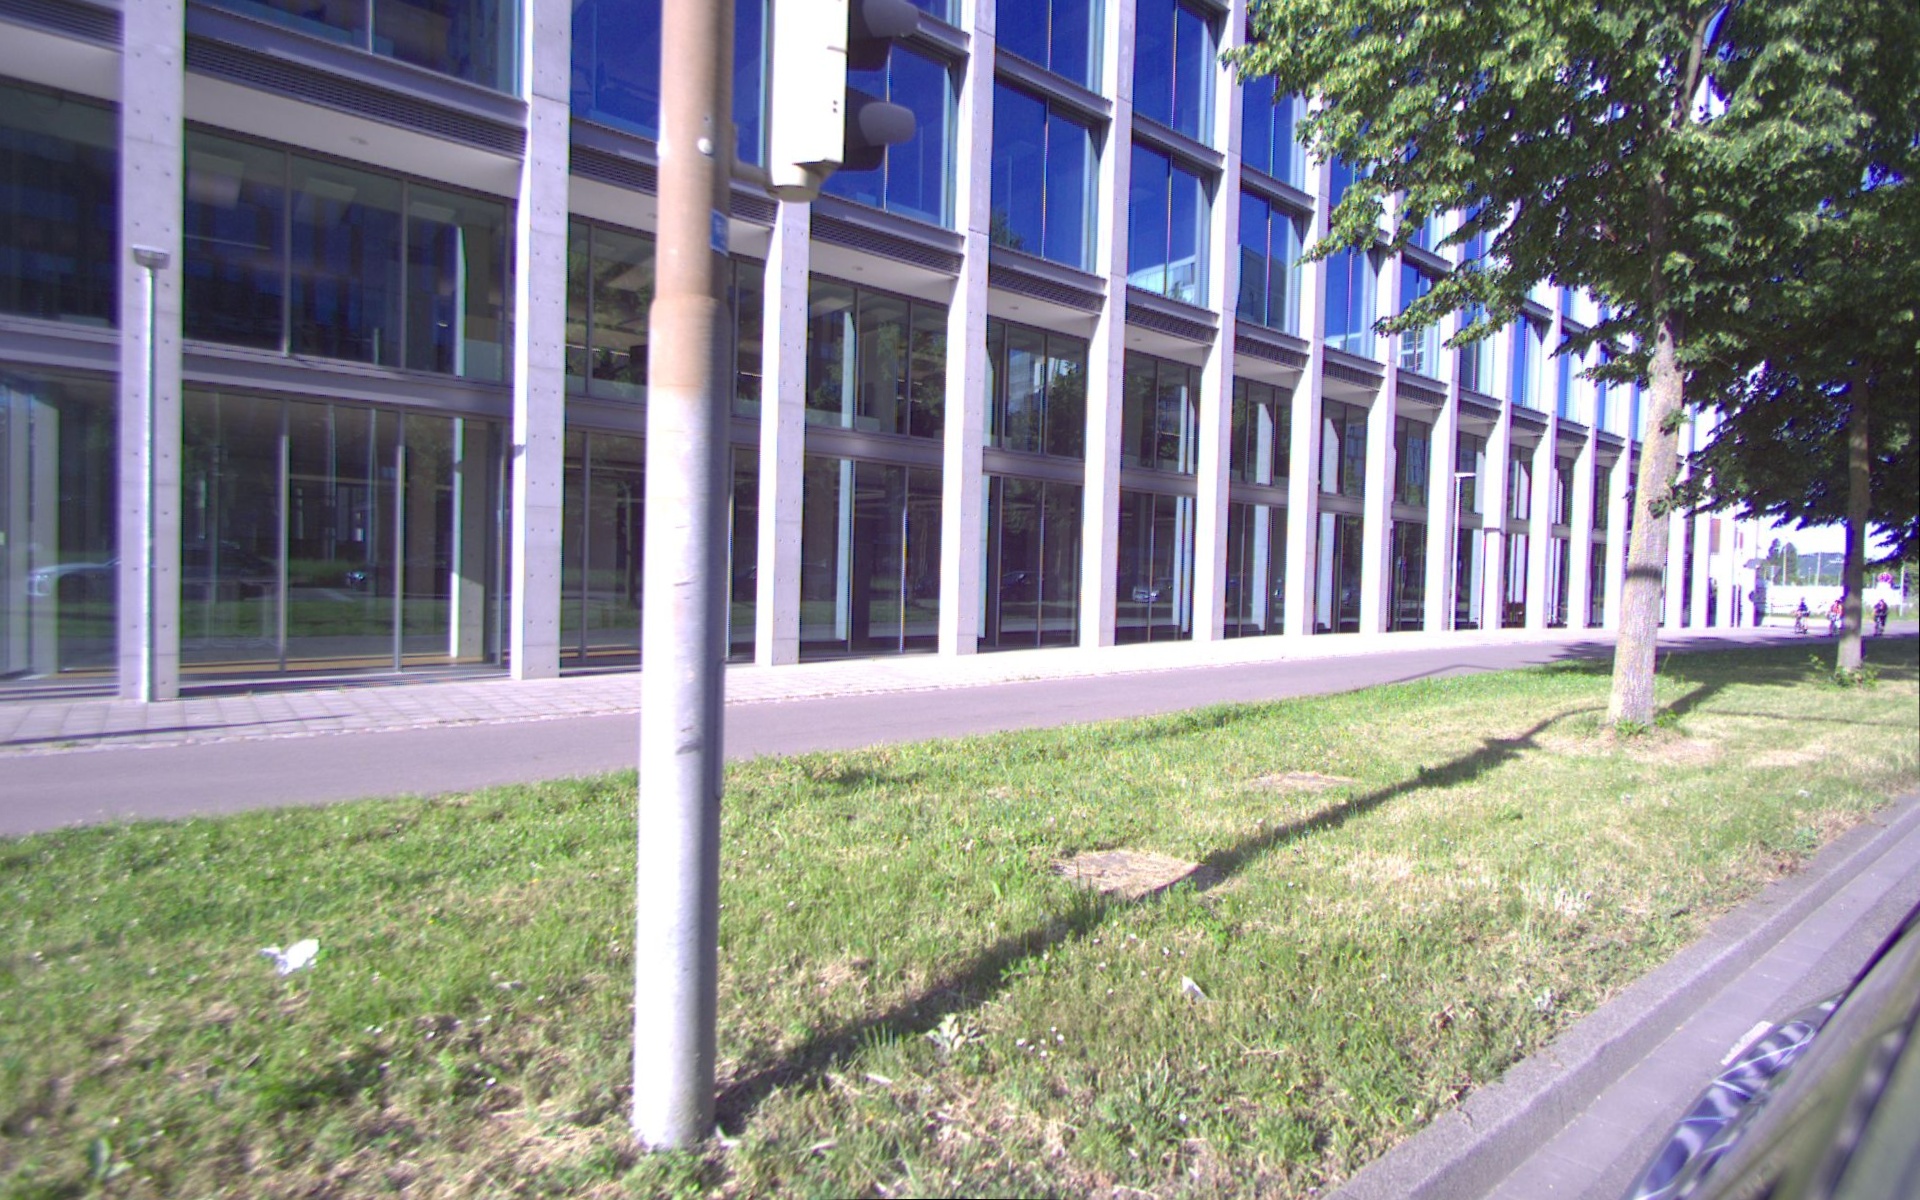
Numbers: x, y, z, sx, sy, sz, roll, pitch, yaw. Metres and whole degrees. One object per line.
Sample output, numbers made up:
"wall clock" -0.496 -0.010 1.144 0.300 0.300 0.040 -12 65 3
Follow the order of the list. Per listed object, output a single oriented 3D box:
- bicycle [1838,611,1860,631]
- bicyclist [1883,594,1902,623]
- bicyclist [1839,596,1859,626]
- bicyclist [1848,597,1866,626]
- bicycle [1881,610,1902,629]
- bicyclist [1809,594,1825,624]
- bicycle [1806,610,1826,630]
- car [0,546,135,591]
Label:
"bicycle" 37.544 0.884 42.741 1.320 0.828 0.464 -1 1 -38
"bicyclist" 41.800 0.381 45.342 0.511 1.305 0.535 0 1 -38
"bicyclist" 37.571 0.452 42.751 0.498 1.232 0.535 0 1 -38
"bicyclist" 41.212 0.511 46.497 0.449 1.305 0.535 0 1 -38
"bicycle" 41.798 0.860 45.398 1.320 0.828 0.464 -1 1 -38
"bicyclist" 36.992 0.385 43.681 0.410 1.305 0.448 0 1 -38
"bicycle" 36.951 0.846 43.671 1.296 0.828 0.415 -1 1 -38
"car" -32.086 -1.120 36.040 3.918 1.523 1.663 1 2 -27
